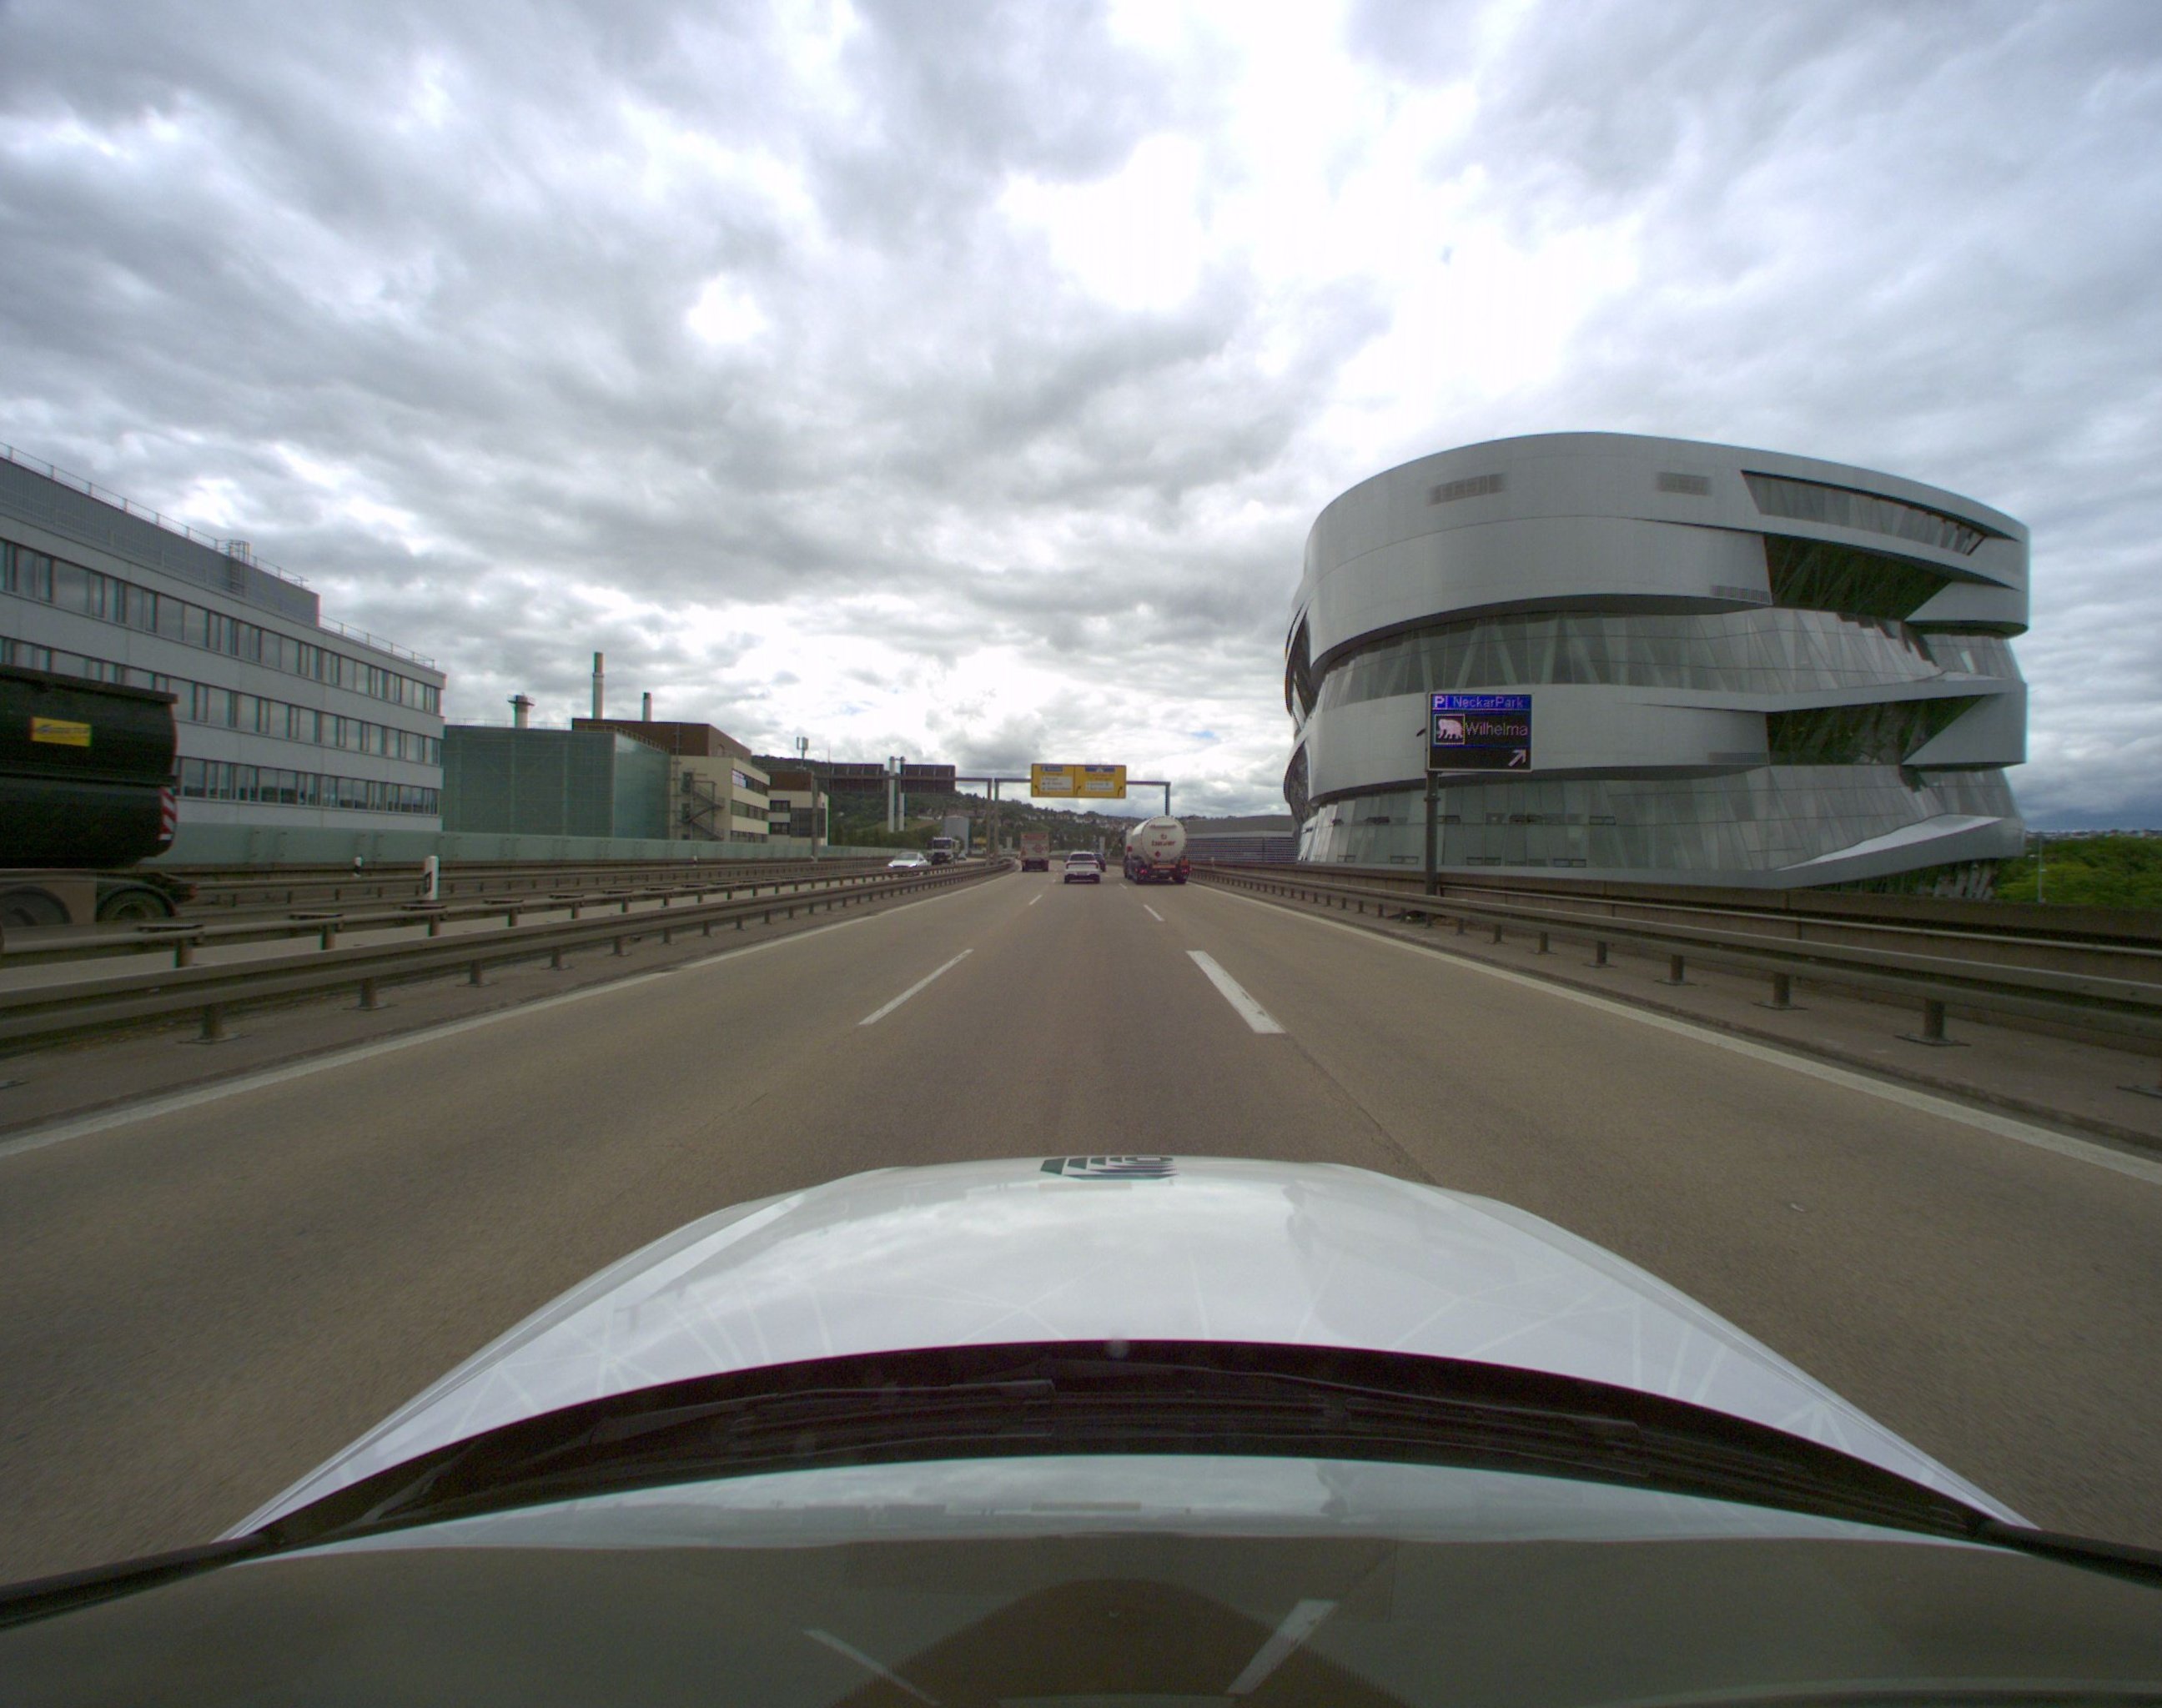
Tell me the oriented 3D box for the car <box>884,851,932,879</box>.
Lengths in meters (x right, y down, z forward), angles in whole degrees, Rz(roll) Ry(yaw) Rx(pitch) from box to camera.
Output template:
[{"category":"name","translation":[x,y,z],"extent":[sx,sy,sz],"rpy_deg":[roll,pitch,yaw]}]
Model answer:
[{"category":"car","translation":[-10.609,0.670,50.256],"extent":[1.988,1.606,4.805],"rpy_deg":[0,-1,-1]}]

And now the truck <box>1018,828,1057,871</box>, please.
[{"category":"truck","translation":[-3.886,-0.340,75.238],"extent":[3.046,3.691,8.303],"rpy_deg":[0,-1,1]}]

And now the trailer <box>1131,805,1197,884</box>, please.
[{"category":"trailer","translation":[4.230,-0.423,43.238],"extent":[3.044,3.790,8.310],"rpy_deg":[0,-1,3]}]

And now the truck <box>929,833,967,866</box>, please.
[{"category":"truck","translation":[-16.222,-0.491,100.056],"extent":[3.050,3.776,12.505],"rpy_deg":[0,-1,-3]}]

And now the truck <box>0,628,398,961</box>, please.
[{"category":"truck","translation":[-14.692,-0.707,11.220],"extent":[3.045,4.065,8.666],"rpy_deg":[0,-1,2]}]

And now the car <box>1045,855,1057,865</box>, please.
[{"category":"car","translation":[-5.332,1.078,145.280],"extent":[1.676,1.650,4.362],"rpy_deg":[1,-1,2]}]

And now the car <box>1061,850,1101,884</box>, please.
[{"category":"car","translation":[0.042,0.690,43.790],"extent":[1.986,1.675,4.410],"rpy_deg":[0,-1,2]}]

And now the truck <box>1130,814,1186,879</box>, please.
[{"category":"truck","translation":[4.505,-0.396,48.871],"extent":[3.002,3.657,6.277],"rpy_deg":[0,-1,3]}]

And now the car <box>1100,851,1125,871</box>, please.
[{"category":"car","translation":[2.714,0.643,71.438],"extent":[1.988,1.675,4.405],"rpy_deg":[0,-1,-1]}]
